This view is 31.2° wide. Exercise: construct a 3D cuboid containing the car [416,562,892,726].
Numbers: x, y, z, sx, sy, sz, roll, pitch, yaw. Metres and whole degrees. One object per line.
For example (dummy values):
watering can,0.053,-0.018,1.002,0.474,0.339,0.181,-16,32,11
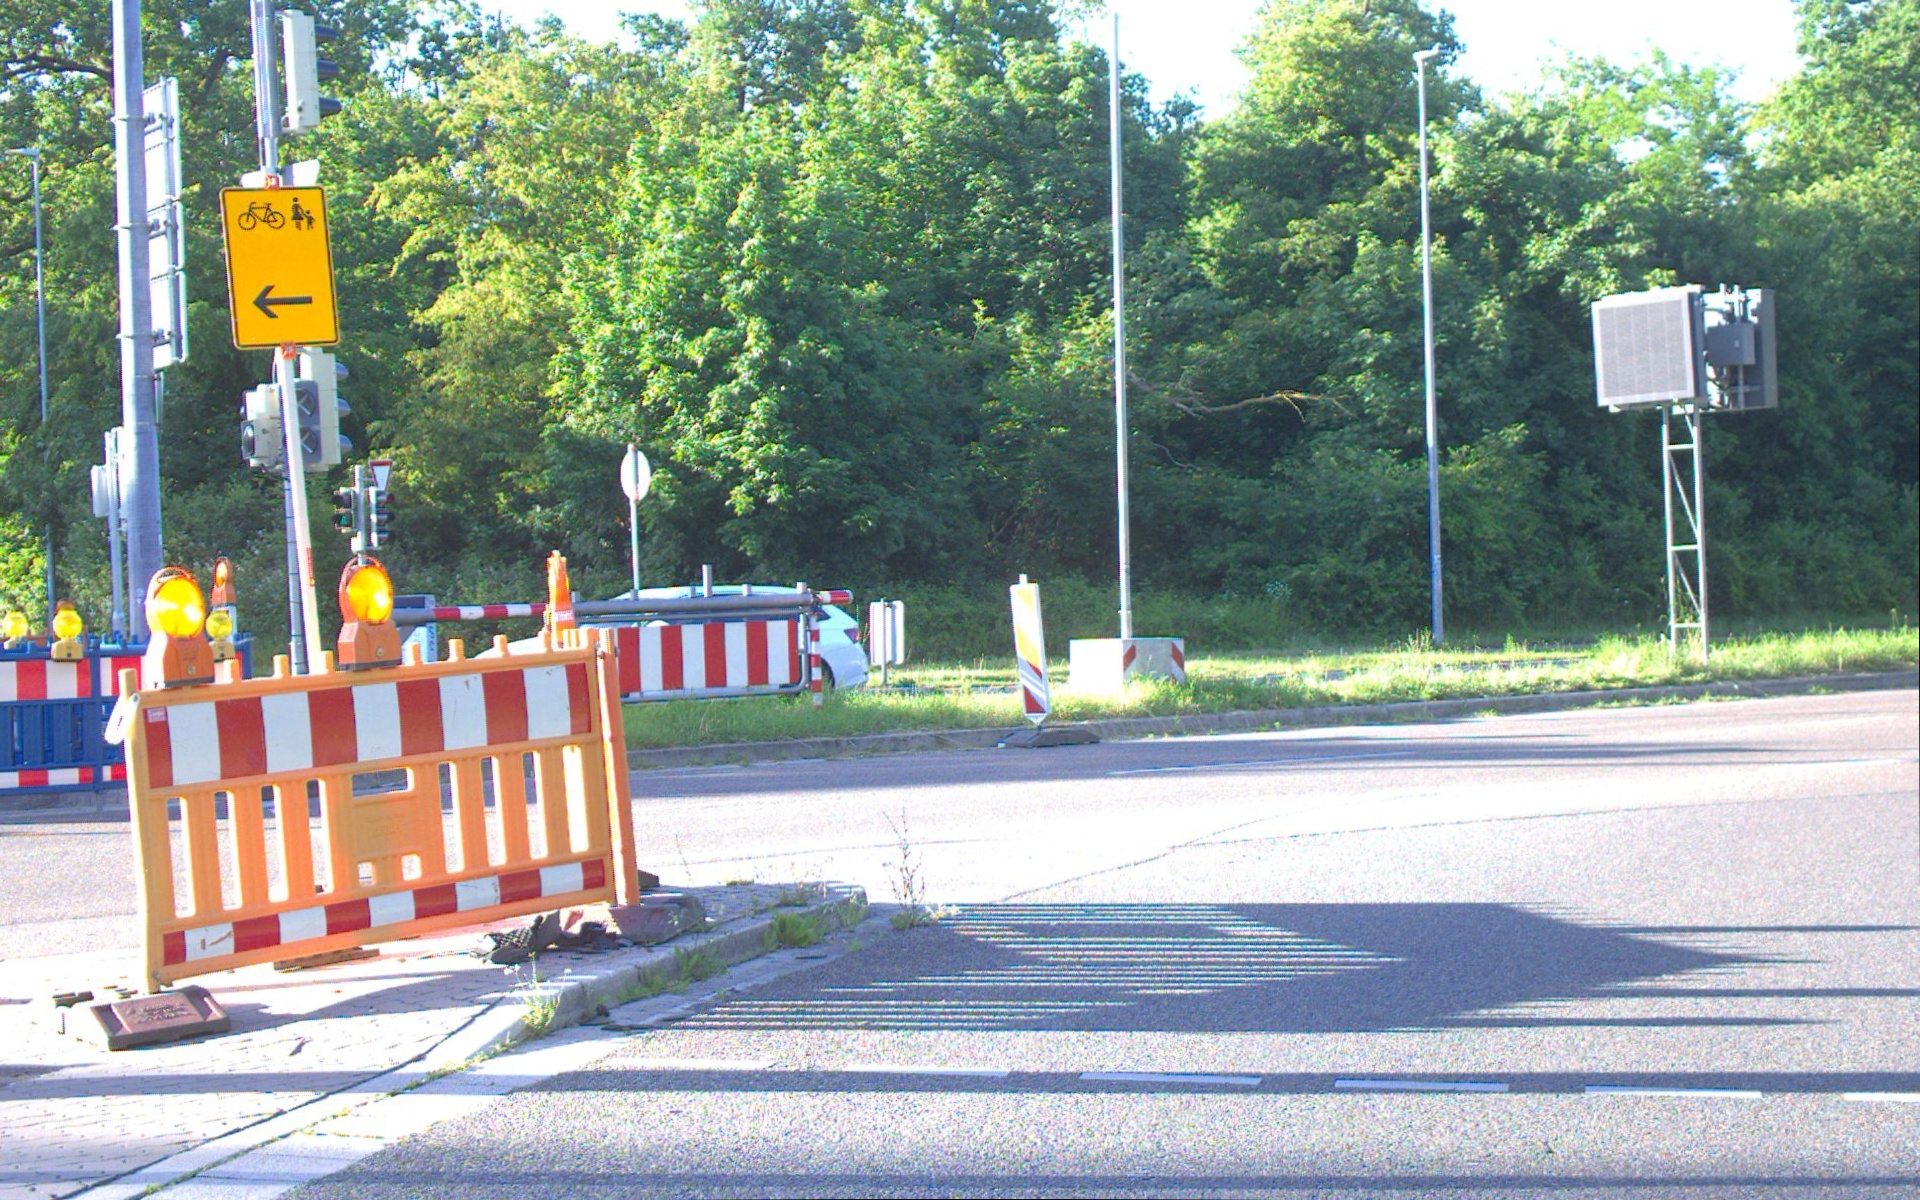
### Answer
car,-3.282,0.450,37.452,4.819,1.575,1.999,-2,1,-39
